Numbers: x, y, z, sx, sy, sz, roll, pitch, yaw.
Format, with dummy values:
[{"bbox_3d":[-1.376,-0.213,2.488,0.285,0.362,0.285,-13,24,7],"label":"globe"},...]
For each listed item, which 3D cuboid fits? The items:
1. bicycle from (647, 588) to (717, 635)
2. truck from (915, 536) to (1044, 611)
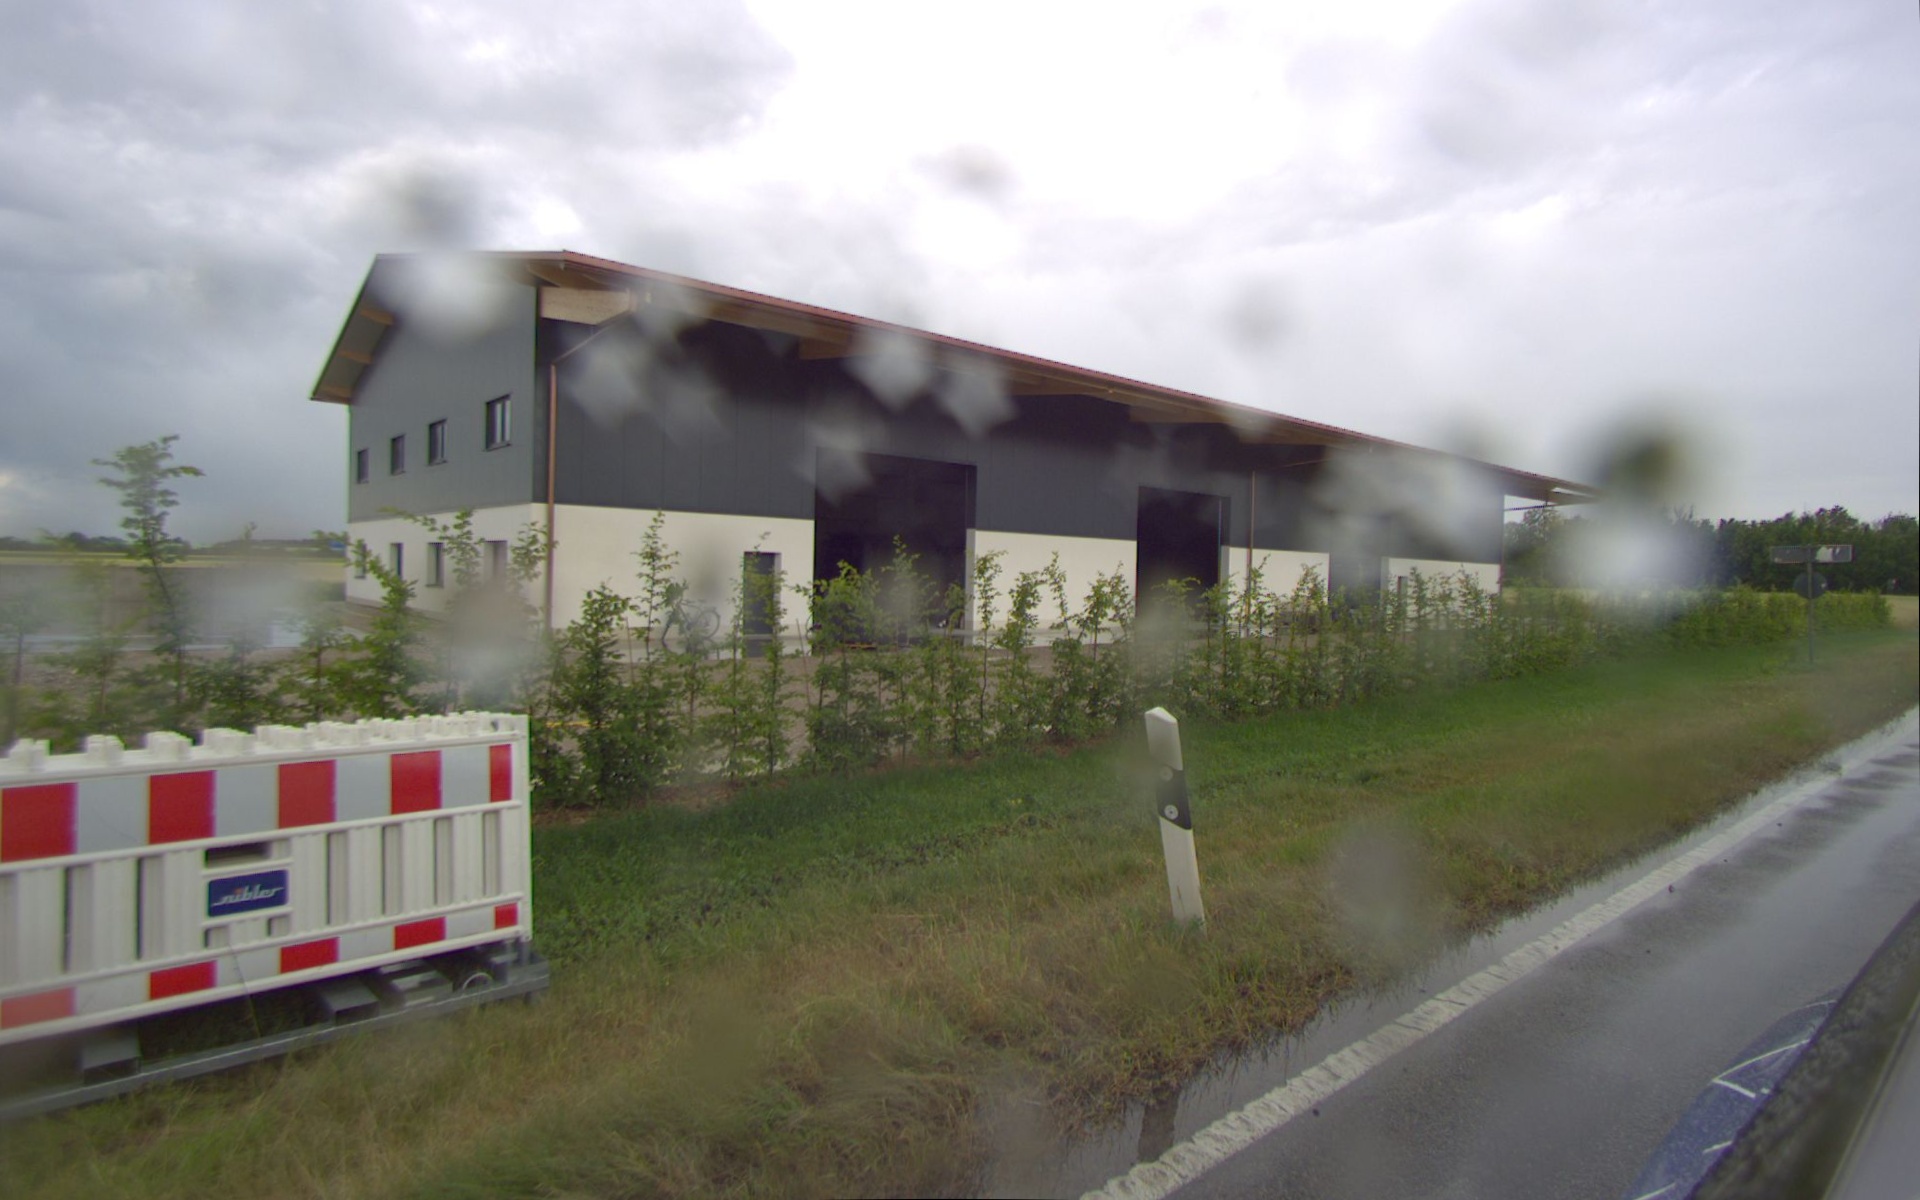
[{"bbox_3d":[-6.688,0.263,24.398,1.631,1.085,0.391,0,2,-41],"label":"bicycle"},{"bbox_3d":[0.895,-1.139,44.083,5.250,3.050,2.495,0,2,-41],"label":"truck"}]
